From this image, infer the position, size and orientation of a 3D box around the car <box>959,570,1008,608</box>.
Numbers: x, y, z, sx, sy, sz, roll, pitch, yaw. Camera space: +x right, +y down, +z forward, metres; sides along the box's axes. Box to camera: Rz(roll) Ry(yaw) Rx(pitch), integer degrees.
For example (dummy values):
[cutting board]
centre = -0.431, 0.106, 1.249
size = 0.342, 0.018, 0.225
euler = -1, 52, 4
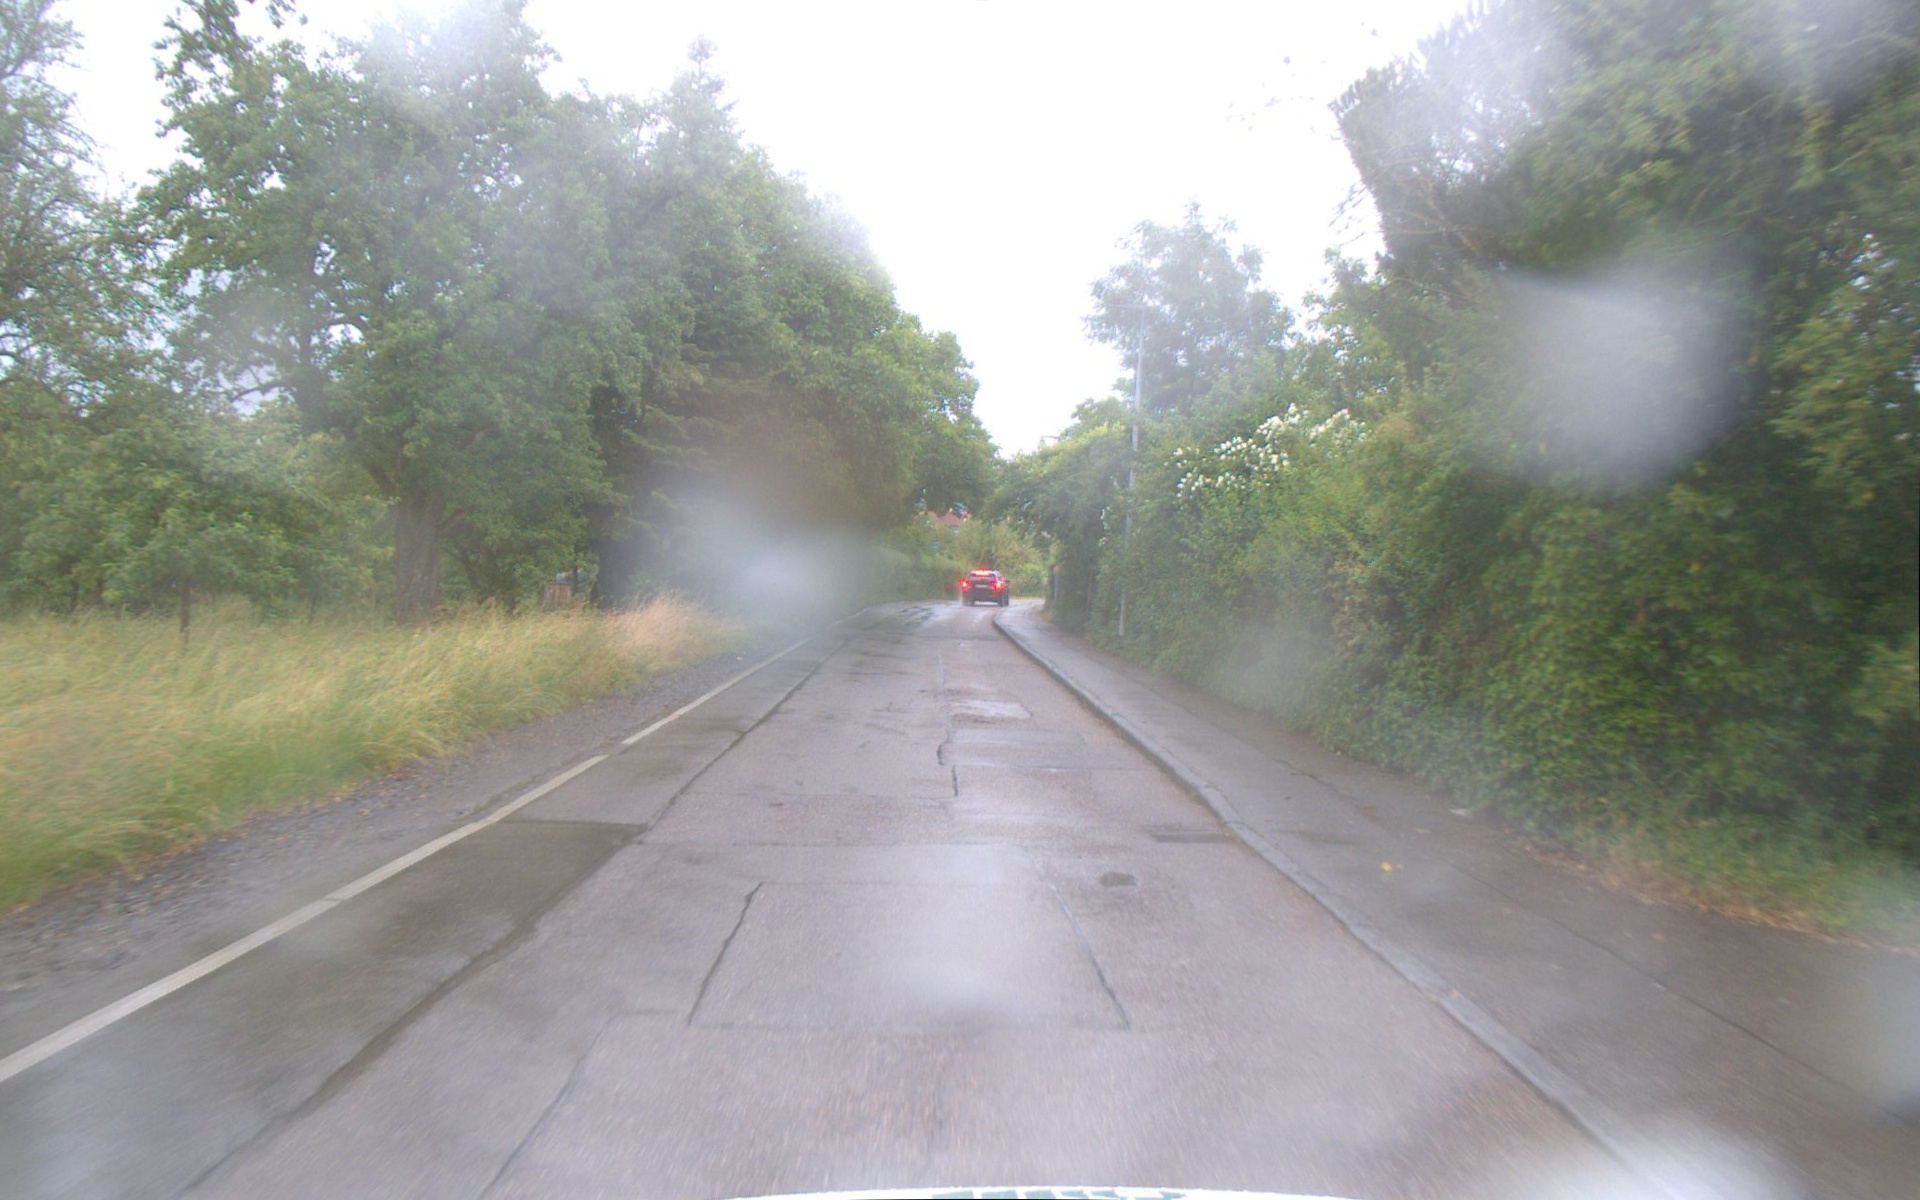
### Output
[car]
centre = 1.020, -0.452, 70.133
size = 1.600, 1.475, 3.547
euler = 2, -1, 8
